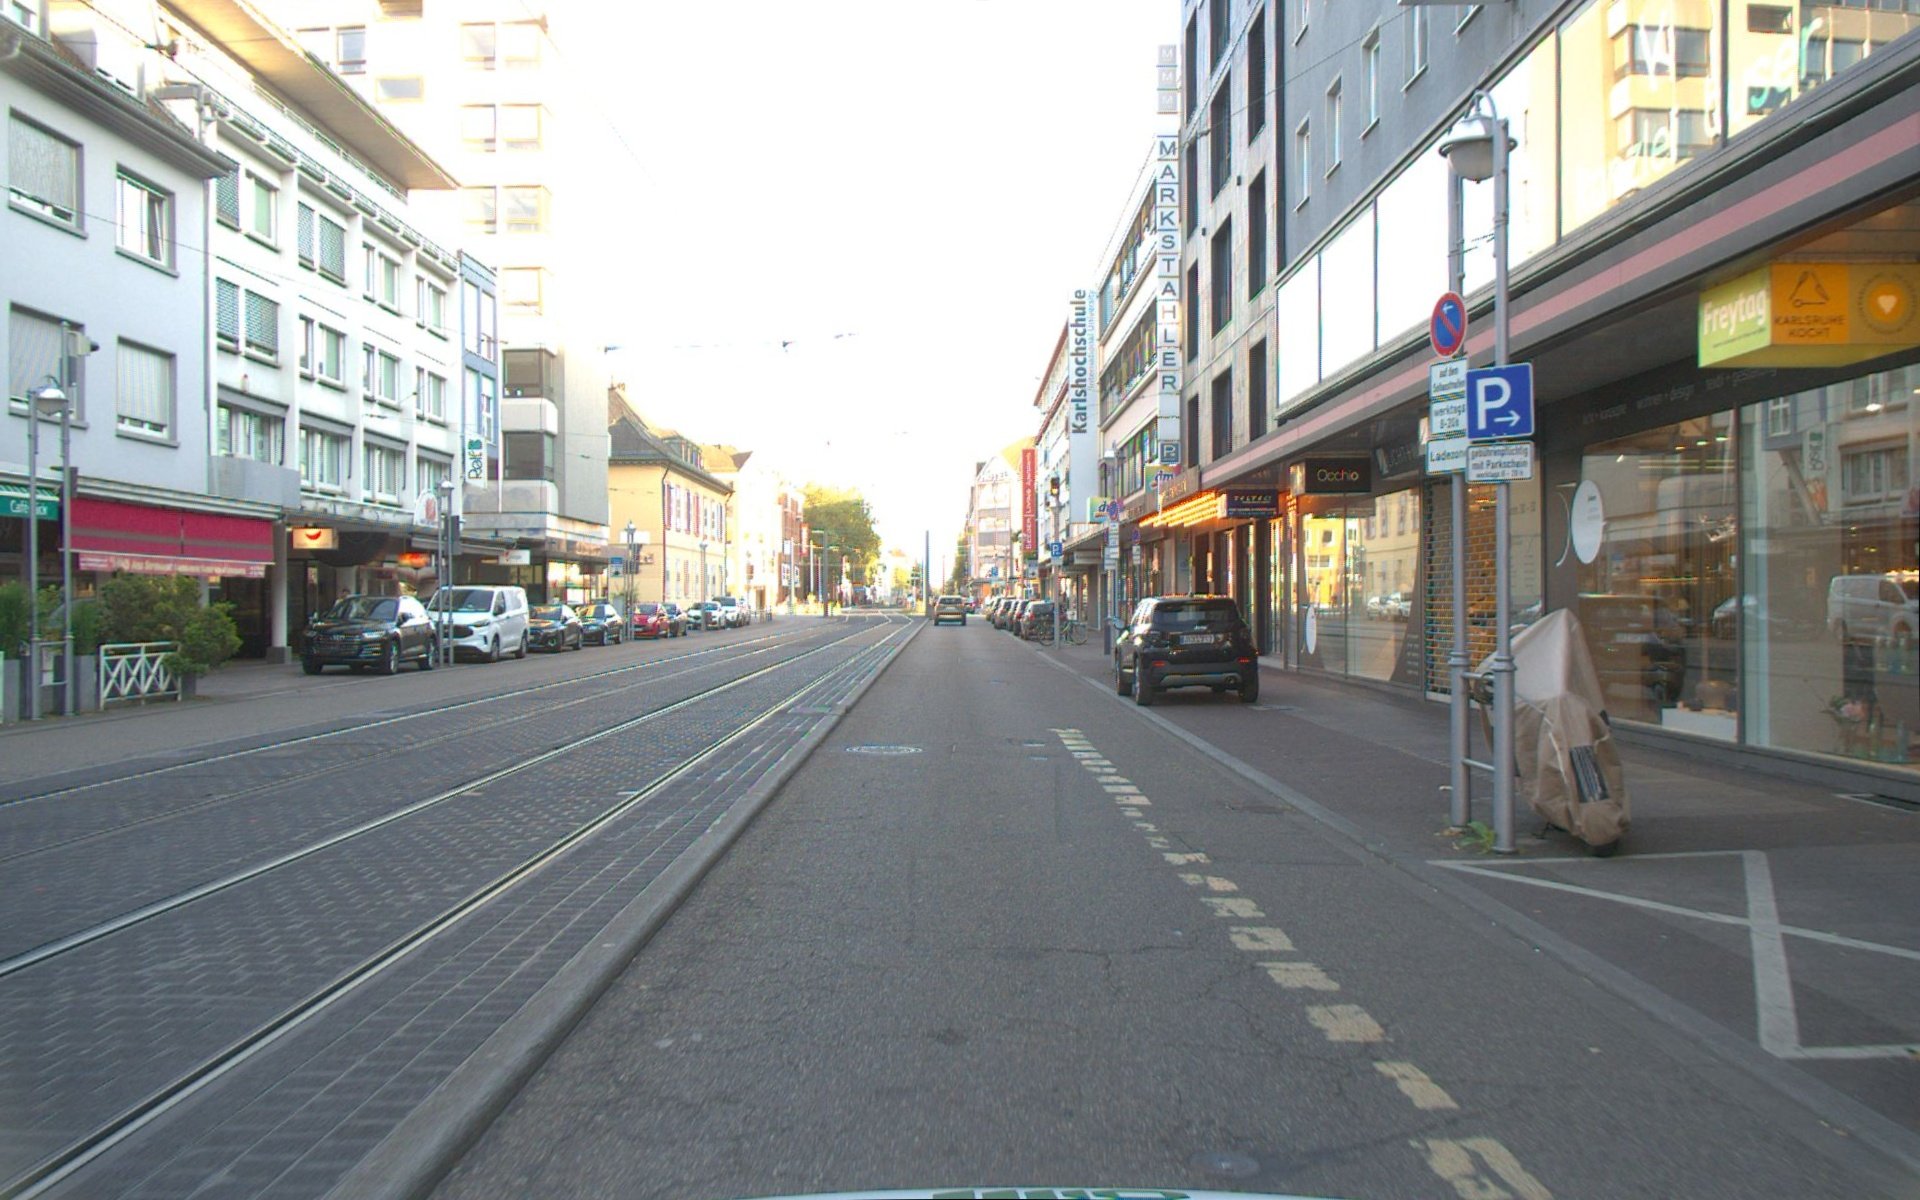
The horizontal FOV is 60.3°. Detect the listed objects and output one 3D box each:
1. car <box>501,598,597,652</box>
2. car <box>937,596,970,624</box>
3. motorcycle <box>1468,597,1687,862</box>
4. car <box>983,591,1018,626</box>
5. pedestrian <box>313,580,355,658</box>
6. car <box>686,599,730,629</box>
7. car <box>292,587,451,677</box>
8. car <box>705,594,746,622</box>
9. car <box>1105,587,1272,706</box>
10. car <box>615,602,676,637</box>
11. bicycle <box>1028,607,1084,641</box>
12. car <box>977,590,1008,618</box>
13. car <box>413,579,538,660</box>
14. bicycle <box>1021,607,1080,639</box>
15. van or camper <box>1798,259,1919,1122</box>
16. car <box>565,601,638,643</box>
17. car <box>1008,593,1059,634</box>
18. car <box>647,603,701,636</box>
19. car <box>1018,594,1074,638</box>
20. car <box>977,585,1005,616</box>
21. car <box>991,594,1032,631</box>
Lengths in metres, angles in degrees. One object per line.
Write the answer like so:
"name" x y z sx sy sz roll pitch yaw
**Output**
"car" -12.789 0.744 51.787 1.878 1.547 4.629 2 0 -1
"car" -0.349 0.558 95.694 1.904 1.572 4.544 0 0 0
"motorcycle" 3.737 0.724 10.196 0.795 1.441 2.006 -2 0 8
"car" 2.419 0.505 99.834 1.904 1.999 4.544 -2 0 0
"pedestrian" -15.230 0.465 40.278 0.635 1.852 0.837 2 0 0
"car" -13.159 0.709 86.625 1.754 1.475 3.890 2 0 -1
"car" -12.878 0.669 36.512 1.878 1.794 4.429 2 0 0
"car" -13.122 0.456 92.673 1.754 1.475 3.890 2 0 -1
"car" 3.393 0.642 25.400 1.904 1.572 4.544 -2 0 0
"car" -12.887 0.775 67.963 1.754 1.362 3.890 2 0 -1
"bicycle" 3.249 0.818 55.927 1.831 1.109 0.545 -1 0 -1
"car" 2.166 0.248 111.370 1.904 1.733 4.544 -2 0 0
"car" -12.869 0.499 44.255 1.878 1.969 4.841 2 0 0
"bicycle" 3.268 0.819 59.679 2.076 1.109 0.591 -1 0 -3
"van or camper" 3.865 0.227 2.533 2.145 2.468 5.516 -3 0 -2
"car" -12.547 0.764 58.085 1.754 1.362 3.890 2 0 -1
"car" 3.027 0.544 69.136 1.904 1.572 4.544 -2 0 0
"car" -12.620 0.830 73.230 1.754 1.362 3.890 2 0 -1
"car" 3.258 0.585 63.377 1.904 1.572 4.544 -2 0 0
"car" 2.280 0.064 123.381 1.904 2.183 4.544 -2 0 0
"car" 2.606 0.620 84.889 1.904 1.733 4.544 -2 0 0
